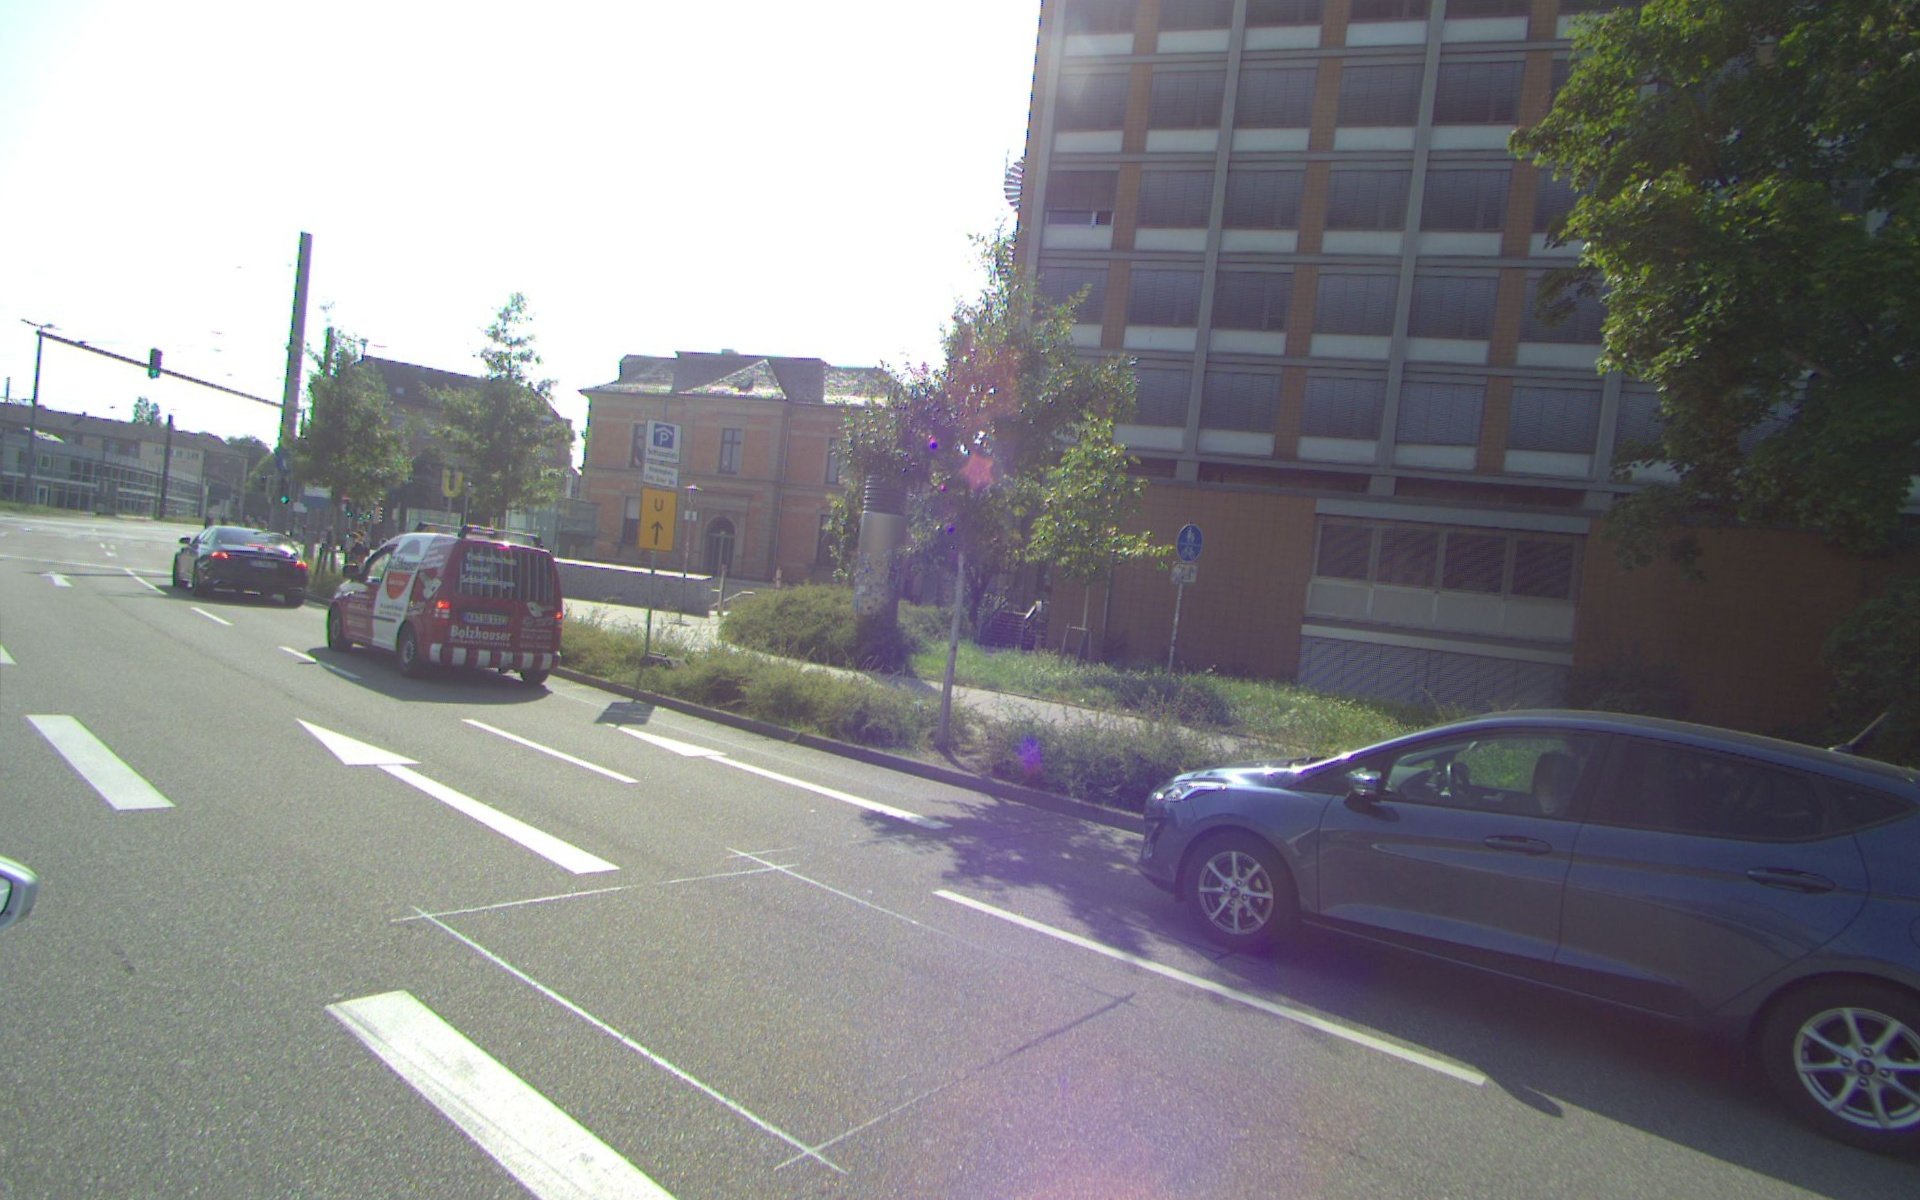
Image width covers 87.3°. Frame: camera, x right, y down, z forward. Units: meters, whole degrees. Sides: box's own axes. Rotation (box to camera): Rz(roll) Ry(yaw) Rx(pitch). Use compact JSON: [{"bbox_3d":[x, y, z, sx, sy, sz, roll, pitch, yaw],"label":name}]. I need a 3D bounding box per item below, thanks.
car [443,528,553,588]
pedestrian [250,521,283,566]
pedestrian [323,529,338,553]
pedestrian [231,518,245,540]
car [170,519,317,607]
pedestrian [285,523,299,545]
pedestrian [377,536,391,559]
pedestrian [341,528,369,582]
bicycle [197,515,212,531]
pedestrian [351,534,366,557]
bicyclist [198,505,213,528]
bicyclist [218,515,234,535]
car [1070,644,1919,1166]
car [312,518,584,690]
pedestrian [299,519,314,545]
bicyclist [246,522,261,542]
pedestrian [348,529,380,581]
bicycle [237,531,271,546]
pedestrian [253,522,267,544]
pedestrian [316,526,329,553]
[{"bbox_3d":[-19.890,-1.753,43.502,1.722,2.039,3.998,9,1,23],"label":"car"},{"bbox_3d":[-22.803,-1.844,33.067,0.624,1.379,0.635,7,1,39],"label":"pedestrian"},{"bbox_3d":[-43.694,-4.070,69.779,0.741,1.549,0.799,6,1,-34],"label":"pedestrian"},{"bbox_3d":[-54.152,-5.289,75.465,0.741,1.549,0.799,6,1,-34],"label":"pedestrian"},{"bbox_3d":[-15.465,-0.835,21.604,1.815,1.457,4.813,8,-1,-44],"label":"car"},{"bbox_3d":[-51.222,-5.053,77.130,0.741,1.549,0.799,6,1,-34],"label":"pedestrian"},{"bbox_3d":[-37.899,-3.461,66.227,0.653,1.378,0.653,7,2,-31],"label":"pedestrian"},{"bbox_3d":[-19.438,-1.431,32.321,0.609,1.659,0.530,6,1,-28],"label":"pedestrian"},{"bbox_3d":[-55.981,-5.687,74.556,0.701,1.074,1.964,6,0,-34],"label":"bicycle"},{"bbox_3d":[-37.804,-3.424,63.262,0.653,1.378,0.653,7,2,-31],"label":"pedestrian"},{"bbox_3d":[-55.947,-6.175,74.583,0.708,1.549,0.799,6,1,-34],"label":"bicyclist"},{"bbox_3d":[-62.947,-6.428,86.290,0.763,1.598,0.986,6,0,-20],"label":"bicyclist"},{"bbox_3d":[2.855,1.224,5.075,4.259,1.444,1.634,6,-1,39],"label":"car"},{"bbox_3d":[-6.978,-0.012,13.504,4.219,1.842,1.729,6,0,42],"label":"car"},{"bbox_3d":[-50.187,-5.229,77.301,0.799,1.912,0.742,6,1,-35],"label":"pedestrian"},{"bbox_3d":[-53.902,-5.186,76.743,0.798,1.479,0.742,6,1,-31],"label":"bicyclist"},{"bbox_3d":[-19.858,-1.496,33.509,0.525,1.649,0.615,7,1,31],"label":"pedestrian"},{"bbox_3d":[-53.894,-4.680,76.796,2.036,0.905,0.740,7,0,-31],"label":"bicycle"},{"bbox_3d":[-52.567,-5.039,75.592,0.741,1.549,0.799,6,1,-34],"label":"pedestrian"},{"bbox_3d":[-50.856,-4.822,80.259,0.741,2.039,0.799,6,1,-34],"label":"pedestrian"}]
